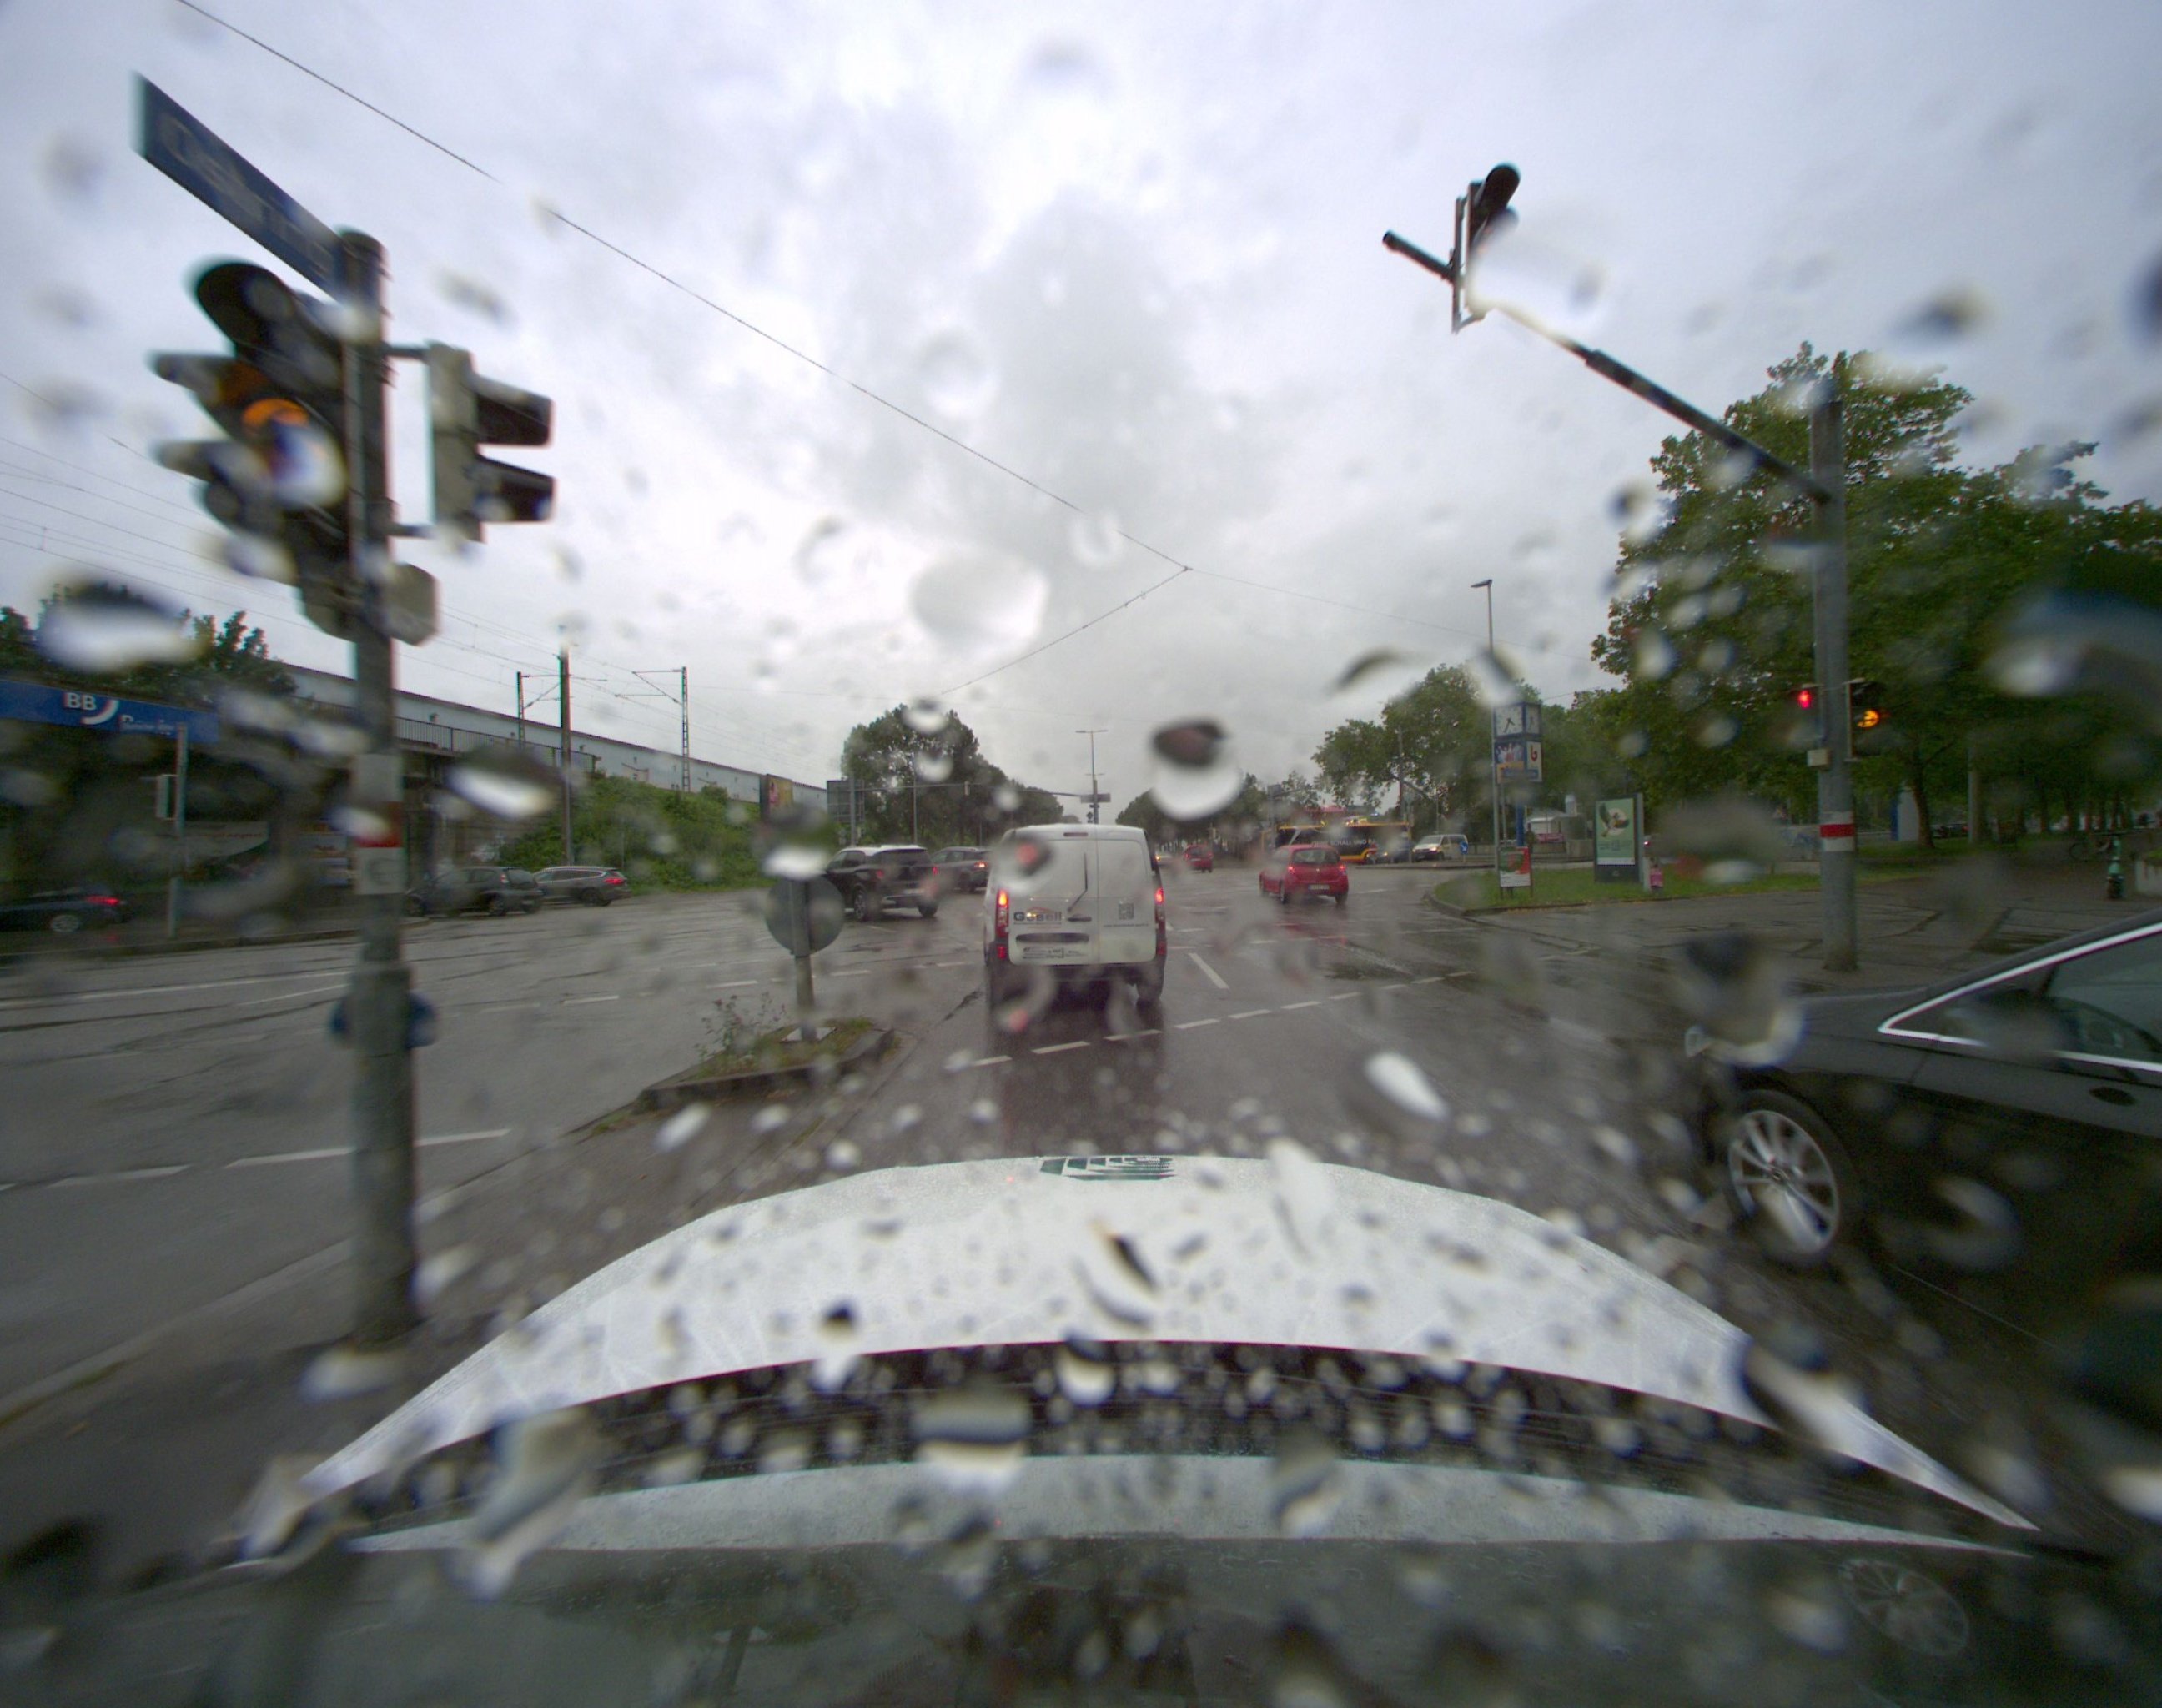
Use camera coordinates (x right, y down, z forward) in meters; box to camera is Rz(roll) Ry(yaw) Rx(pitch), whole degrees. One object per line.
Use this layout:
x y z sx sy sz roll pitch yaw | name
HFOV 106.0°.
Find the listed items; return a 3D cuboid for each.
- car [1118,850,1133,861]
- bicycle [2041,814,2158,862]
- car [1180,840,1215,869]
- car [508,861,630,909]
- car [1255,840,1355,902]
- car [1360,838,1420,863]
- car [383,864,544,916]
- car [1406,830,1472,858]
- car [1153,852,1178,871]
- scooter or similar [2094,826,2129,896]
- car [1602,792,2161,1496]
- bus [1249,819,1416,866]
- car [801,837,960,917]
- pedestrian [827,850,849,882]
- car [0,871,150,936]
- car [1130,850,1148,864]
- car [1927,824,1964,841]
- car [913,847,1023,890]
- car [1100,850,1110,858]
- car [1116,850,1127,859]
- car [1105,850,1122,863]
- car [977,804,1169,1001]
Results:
6.669 0.240 121.708 1.990 1.618 4.000 -2 0 0 | car
32.332 -0.499 25.937 0.799 1.442 2.681 0 0 11 | bicycle
6.802 0.024 47.826 1.627 1.655 3.485 0 0 1 | car
-17.845 1.049 28.536 3.359 1.473 1.557 -2 1 -23 | car
5.806 0.390 21.521 1.673 1.491 3.622 -1 0 1 | car
22.238 -0.282 58.521 4.362 1.651 1.912 -2 0 -36 | car
-17.773 1.027 23.539 3.433 1.306 1.584 -2 1 3 | car
25.219 -0.709 57.317 4.767 1.848 2.055 -2 0 -36 | car
7.278 0.604 70.511 1.835 1.618 4.002 0 0 2 | car
17.749 0.106 14.039 1.181 1.138 0.337 -3 0 -39 | scooter or similar
3.247 0.603 1.654 1.863 1.523 4.089 -2 0 2 | car
19.795 -0.927 64.706 12.210 3.268 3.274 -2 0 0 | bus
-4.699 0.476 18.774 1.934 1.609 3.952 -2 1 -41 | car
-13.412 0.672 44.951 1.001 1.719 0.818 -1 0 -8 | pedestrian
-29.251 1.374 22.685 3.961 1.618 1.978 -2 0 -36 | car
7.324 0.343 103.975 1.990 1.618 4.000 -2 0 0 | car
86.145 -2.183 81.128 4.016 1.552 1.823 -2 0 -34 | car
-3.694 0.465 26.505 3.215 1.283 1.697 -1 1 36 | car
4.908 -0.013 167.157 1.990 1.618 4.000 -2 0 0 | car
8.132 0.075 163.120 1.990 1.618 4.000 -2 0 0 | car
4.285 0.362 107.017 1.990 1.618 4.000 -2 0 0 | car
-0.256 0.436 9.464 1.753 1.777 3.992 1 0 -6 | car
